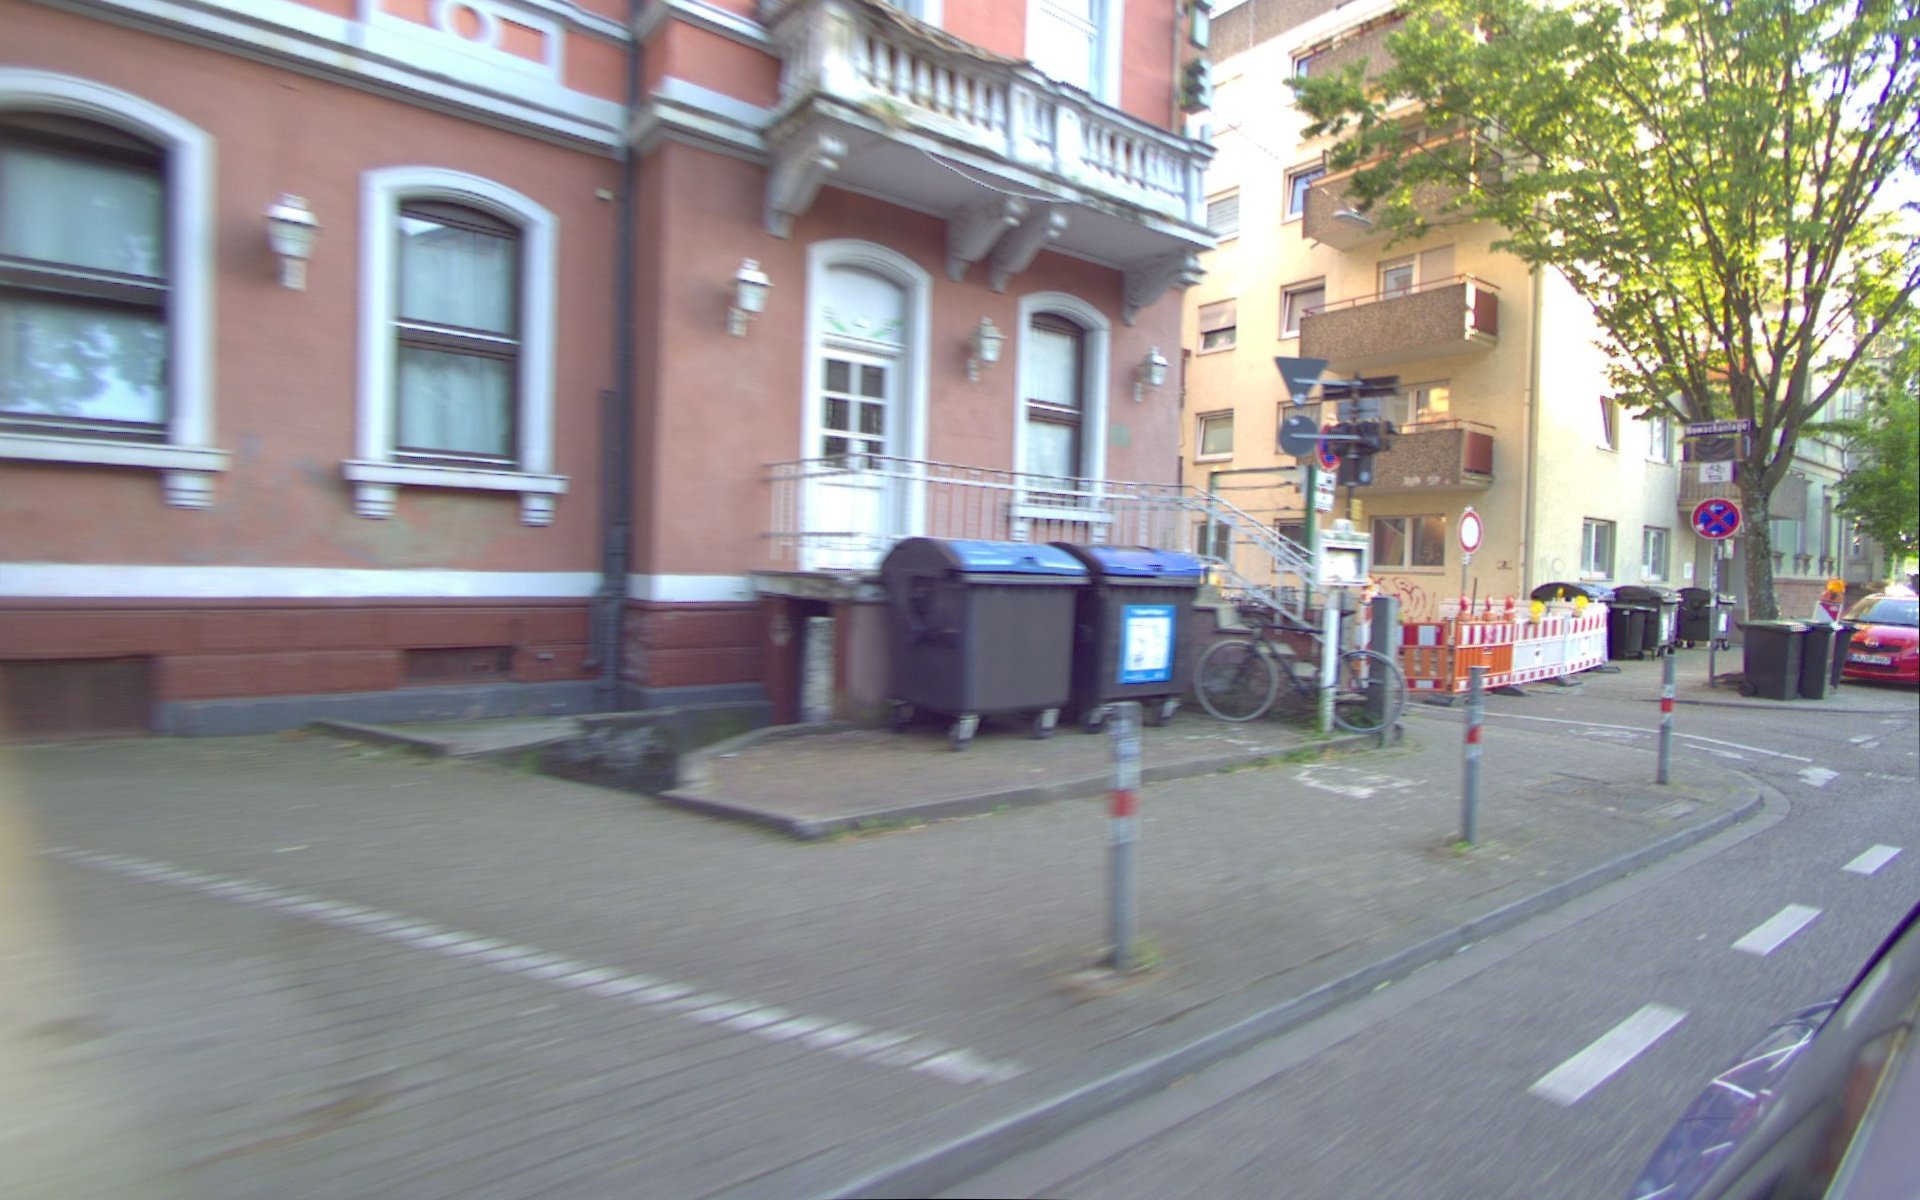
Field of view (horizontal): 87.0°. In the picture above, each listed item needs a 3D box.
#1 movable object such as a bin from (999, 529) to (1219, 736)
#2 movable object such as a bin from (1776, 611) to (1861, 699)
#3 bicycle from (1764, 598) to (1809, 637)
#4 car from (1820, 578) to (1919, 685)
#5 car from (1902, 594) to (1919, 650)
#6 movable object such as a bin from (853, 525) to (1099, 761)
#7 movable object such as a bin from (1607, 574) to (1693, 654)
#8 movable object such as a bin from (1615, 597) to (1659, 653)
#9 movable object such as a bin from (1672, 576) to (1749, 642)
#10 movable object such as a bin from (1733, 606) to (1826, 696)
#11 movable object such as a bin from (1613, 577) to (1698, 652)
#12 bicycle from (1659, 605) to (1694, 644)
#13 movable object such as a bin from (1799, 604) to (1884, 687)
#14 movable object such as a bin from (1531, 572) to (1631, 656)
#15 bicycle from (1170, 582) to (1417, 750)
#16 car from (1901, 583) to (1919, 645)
[{"bbox_3d":[1.215,0.222,8.279,1.373,1.520,1.143,0,1,-38],"label":"movable object such as a bin"},{"bbox_3d":[11.929,0.746,14.077,0.576,1.168,0.716,1,1,-25],"label":"movable object such as a bin"},{"bbox_3d":[23.688,0.492,28.999,1.528,1.088,0.652,0,1,-38],"label":"bicycle"},{"bbox_3d":[15.821,0.477,16.600,3.621,1.554,1.571,0,3,-33],"label":"car"},{"bbox_3d":[27.493,0.633,26.201,4.162,1.472,1.633,1,1,23],"label":"car"},{"bbox_3d":[0.113,0.264,7.396,1.373,1.520,1.143,0,1,-38],"label":"movable object such as a bin"},{"bbox_3d":[13.777,0.254,20.204,1.295,1.520,1.074,0,1,-40],"label":"movable object such as a bin"},{"bbox_3d":[13.085,0.470,19.554,0.560,1.060,0.555,0,1,-39],"label":"movable object such as a bin"},{"bbox_3d":[18.057,0.193,24.350,1.455,1.520,1.116,0,1,-38],"label":"movable object such as a bin"},{"bbox_3d":[11.233,0.685,13.884,0.576,1.168,0.797,1,1,-25],"label":"movable object such as a bin"},{"bbox_3d":[14.783,0.283,21.509,1.247,1.520,1.143,0,1,-38],"label":"movable object such as a bin"},{"bbox_3d":[16.617,0.560,23.460,1.205,0.875,0.413,0,1,-44],"label":"bicycle"},{"bbox_3d":[13.072,0.661,15.030,0.612,1.168,0.715,1,1,5],"label":"movable object such as a bin"},{"bbox_3d":[11.865,0.249,19.329,1.569,1.520,1.143,0,1,-38],"label":"movable object such as a bin"},{"bbox_3d":[2.791,0.513,8.611,1.893,1.282,0.598,2,2,18],"label":"bicycle"},{"bbox_3d":[29.330,0.438,28.190,4.164,1.746,1.708,1,1,24],"label":"car"}]
